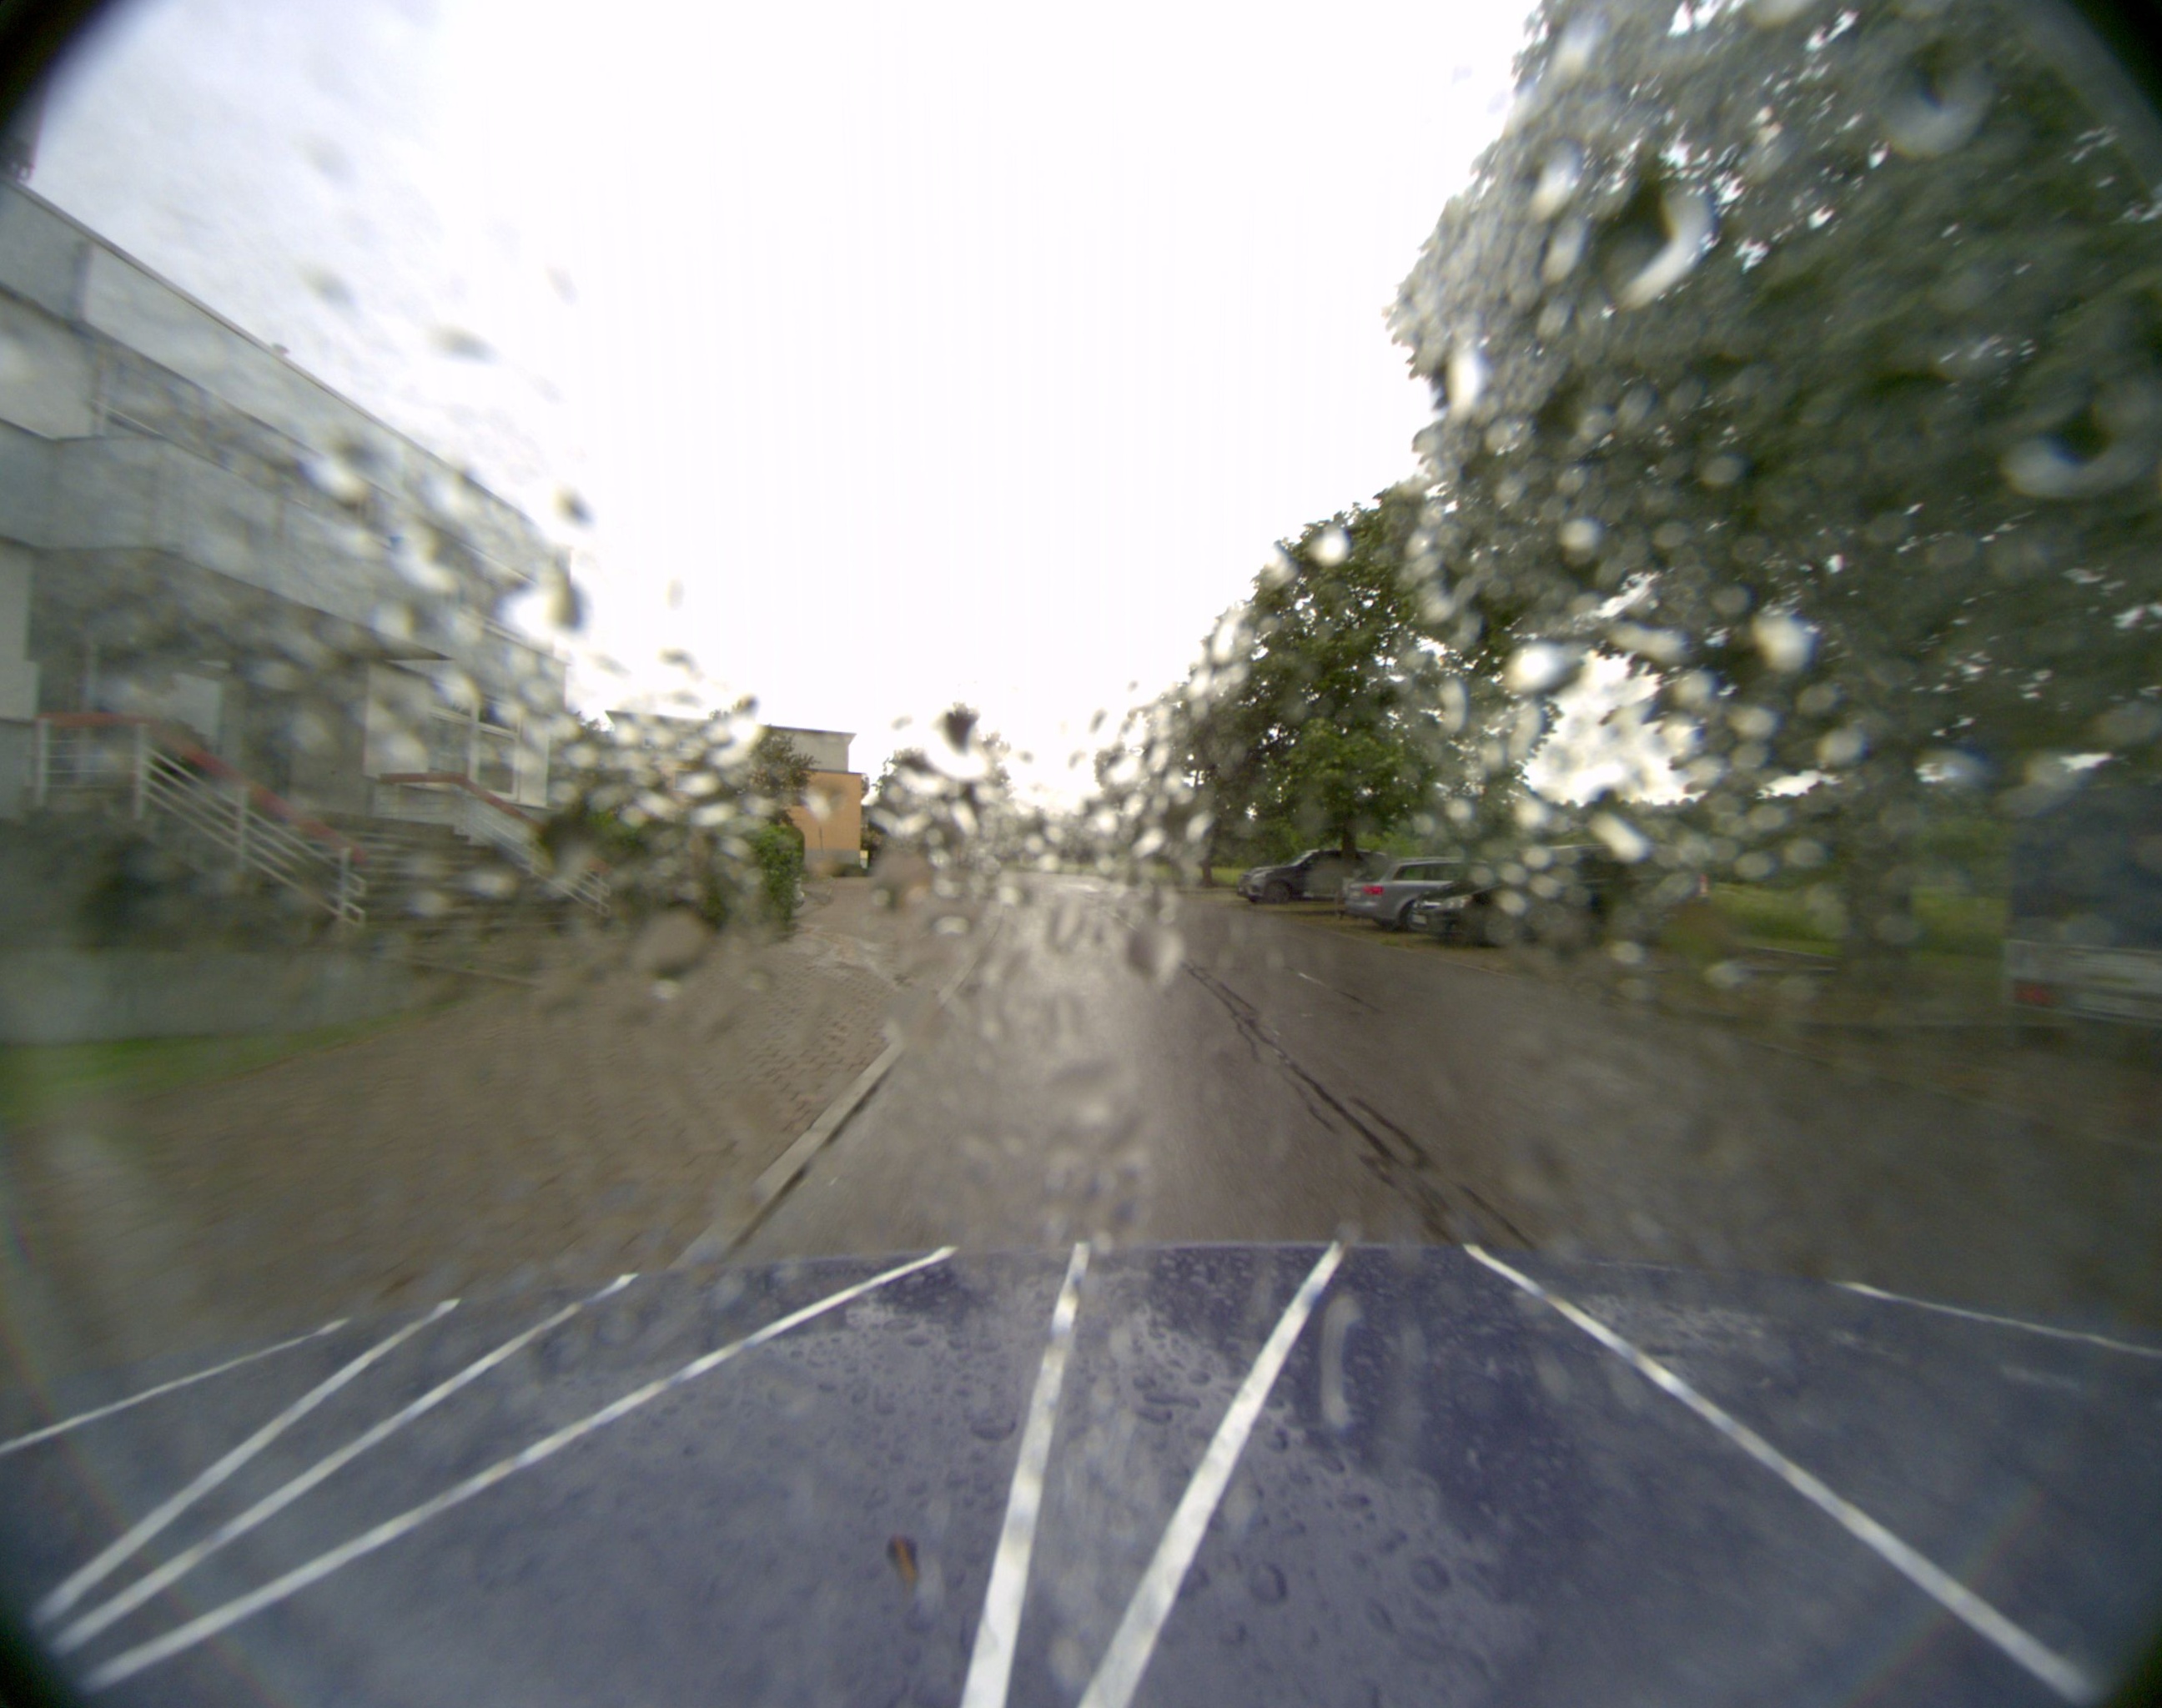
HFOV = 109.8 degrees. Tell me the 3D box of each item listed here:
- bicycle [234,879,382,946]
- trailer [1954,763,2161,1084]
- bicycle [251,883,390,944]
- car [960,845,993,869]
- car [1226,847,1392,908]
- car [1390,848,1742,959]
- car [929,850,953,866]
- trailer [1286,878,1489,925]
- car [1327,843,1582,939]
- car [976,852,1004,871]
[{"bbox_3d":[-10.868,0.811,10.715,1.473,0.897,0.285,0,1,-21],"label":"bicycle"},{"bbox_3d":[8.754,0.454,4.867,4.223,1.973,1.774,1,1,0],"label":"trailer"},{"bbox_3d":[-10.968,0.843,10.999,1.423,0.825,0.285,0,1,-21],"label":"bicycle"},{"bbox_3d":[-10.712,0.292,77.781,2.057,2.317,5.397,0,0,-22],"label":"car"},{"bbox_3d":[6.861,0.681,23.193,4.380,1.712,2.043,1,1,-4],"label":"car"},{"bbox_3d":[7.775,0.746,12.492,4.629,1.580,1.806,-1,1,0],"label":"car"},{"bbox_3d":[-16.911,0.438,91.626,1.828,1.775,3.810,0,1,-27],"label":"car"},{"bbox_3d":[7.074,1.087,17.820,3.952,0.955,2.000,0,0,-2],"label":"trailer"},{"bbox_3d":[7.281,0.681,15.165,4.084,1.712,2.025,-1,1,1],"label":"car"},{"bbox_3d":[-8.657,0.683,72.133,1.818,1.717,4.644,1,1,-18],"label":"car"}]
